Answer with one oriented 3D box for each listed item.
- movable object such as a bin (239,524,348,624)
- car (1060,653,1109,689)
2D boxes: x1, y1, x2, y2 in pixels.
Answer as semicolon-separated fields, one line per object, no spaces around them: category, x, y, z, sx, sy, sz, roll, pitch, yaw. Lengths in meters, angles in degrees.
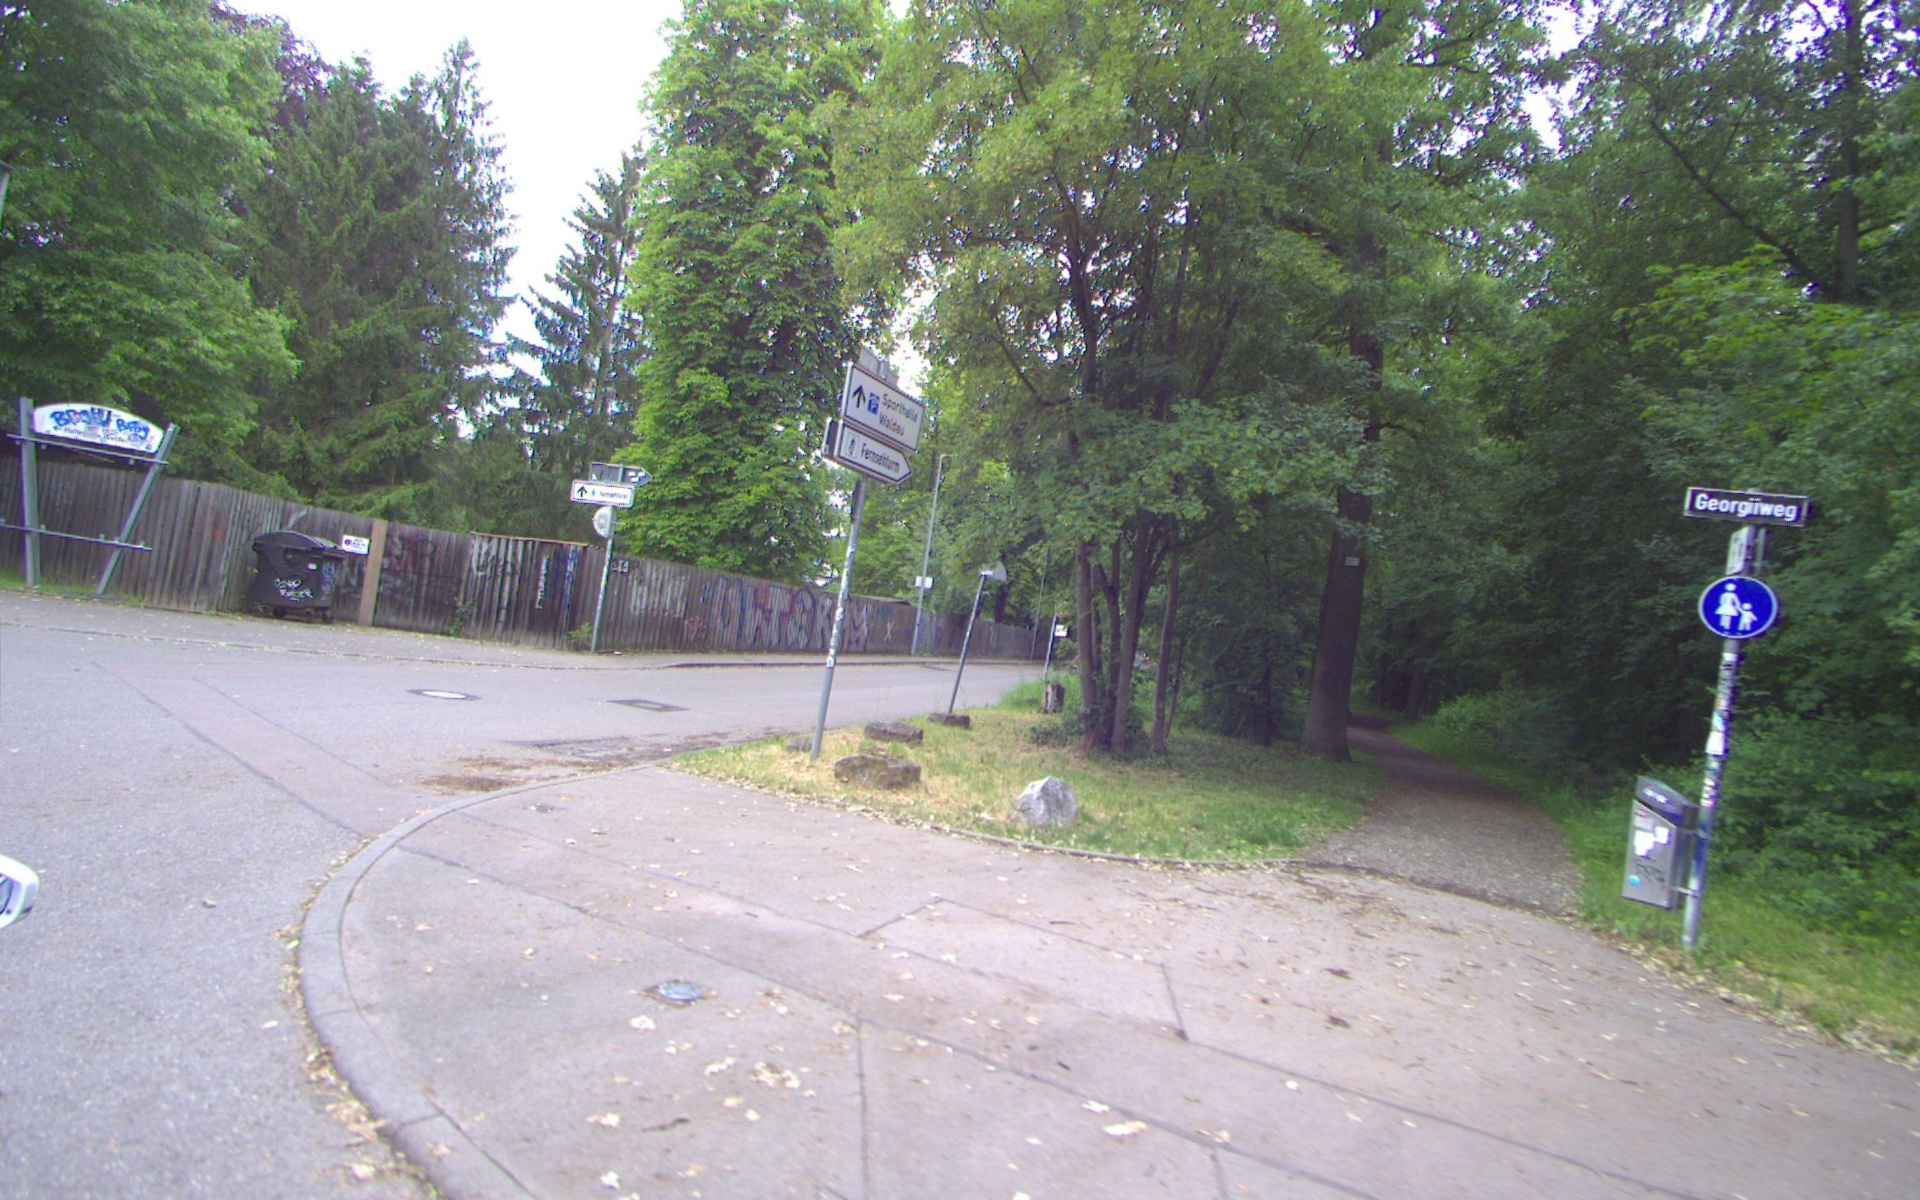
movable object such as a bin;-11.098;-0.410;16.815;1.064;1.459;1.281;8;-2;-19
car;6.787;3.867;54.360;1.878;1.524;4.006;11;-1;15
